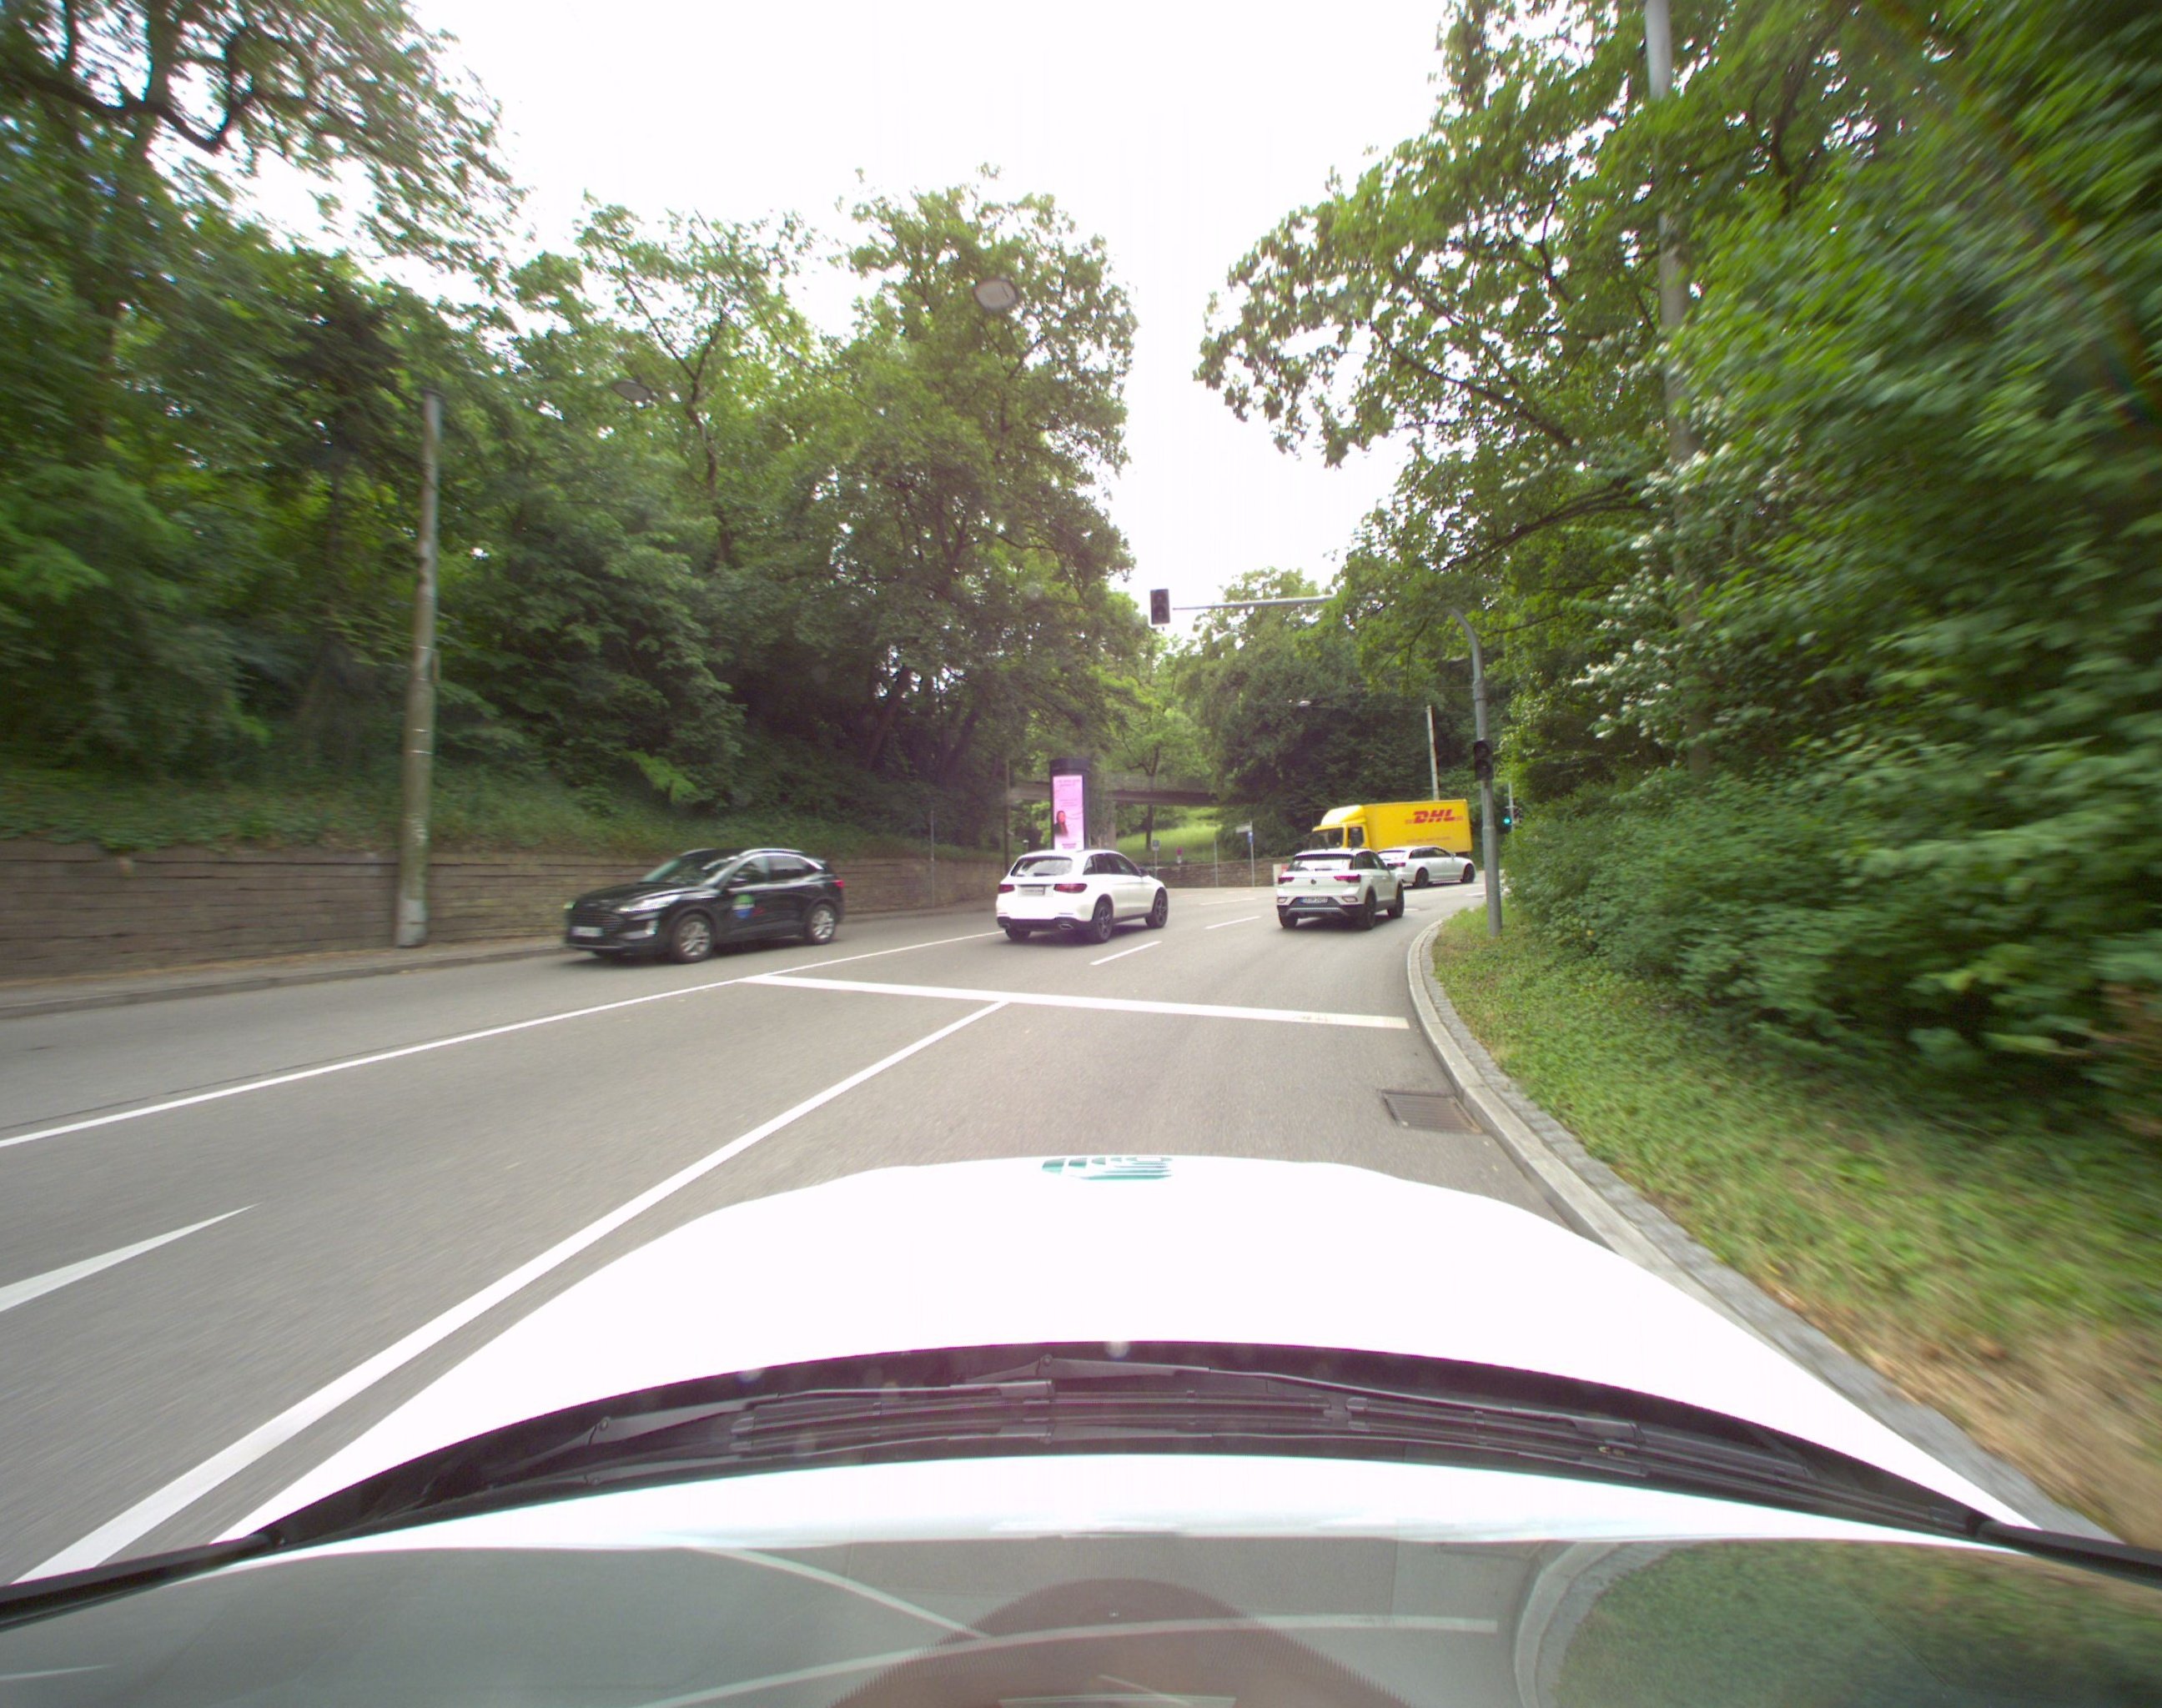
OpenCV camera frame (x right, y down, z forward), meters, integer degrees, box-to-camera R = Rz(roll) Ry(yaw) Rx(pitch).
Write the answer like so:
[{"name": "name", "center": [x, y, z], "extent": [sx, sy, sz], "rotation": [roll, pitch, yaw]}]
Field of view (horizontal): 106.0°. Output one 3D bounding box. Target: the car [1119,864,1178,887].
[{"name": "car", "center": [4.761, 1.489, 56.949], "extent": [4.021, 1.552, 1.755], "rotation": [1, -3, -41]}]

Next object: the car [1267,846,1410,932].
[{"name": "car", "center": [5.504, 0.623, 17.025], "extent": [1.737, 1.552, 4.365], "rotation": [-1, 0, 33]}]

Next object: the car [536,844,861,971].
[{"name": "car", "center": [-5.690, 0.718, 12.896], "extent": [1.739, 1.624, 4.675], "rotation": [-1, -1, 23]}]

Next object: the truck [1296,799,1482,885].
[{"name": "truck", "center": [13.044, -0.518, 34.429], "extent": [7.596, 3.300, 2.735], "rotation": [-2, -2, -26]}]

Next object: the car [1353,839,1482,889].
[{"name": "car", "center": [11.960, 0.329, 28.821], "extent": [4.796, 1.534, 1.851], "rotation": [-2, -1, -34]}]

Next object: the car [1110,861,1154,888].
[{"name": "car", "center": [2.773, 1.133, 44.976], "extent": [1.746, 1.358, 3.991], "rotation": [-2, -1, -6]}]

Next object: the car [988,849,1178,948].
[{"name": "car", "center": [0.233, 0.711, 15.708], "extent": [1.842, 1.605, 4.698], "rotation": [0, 0, 25]}]
